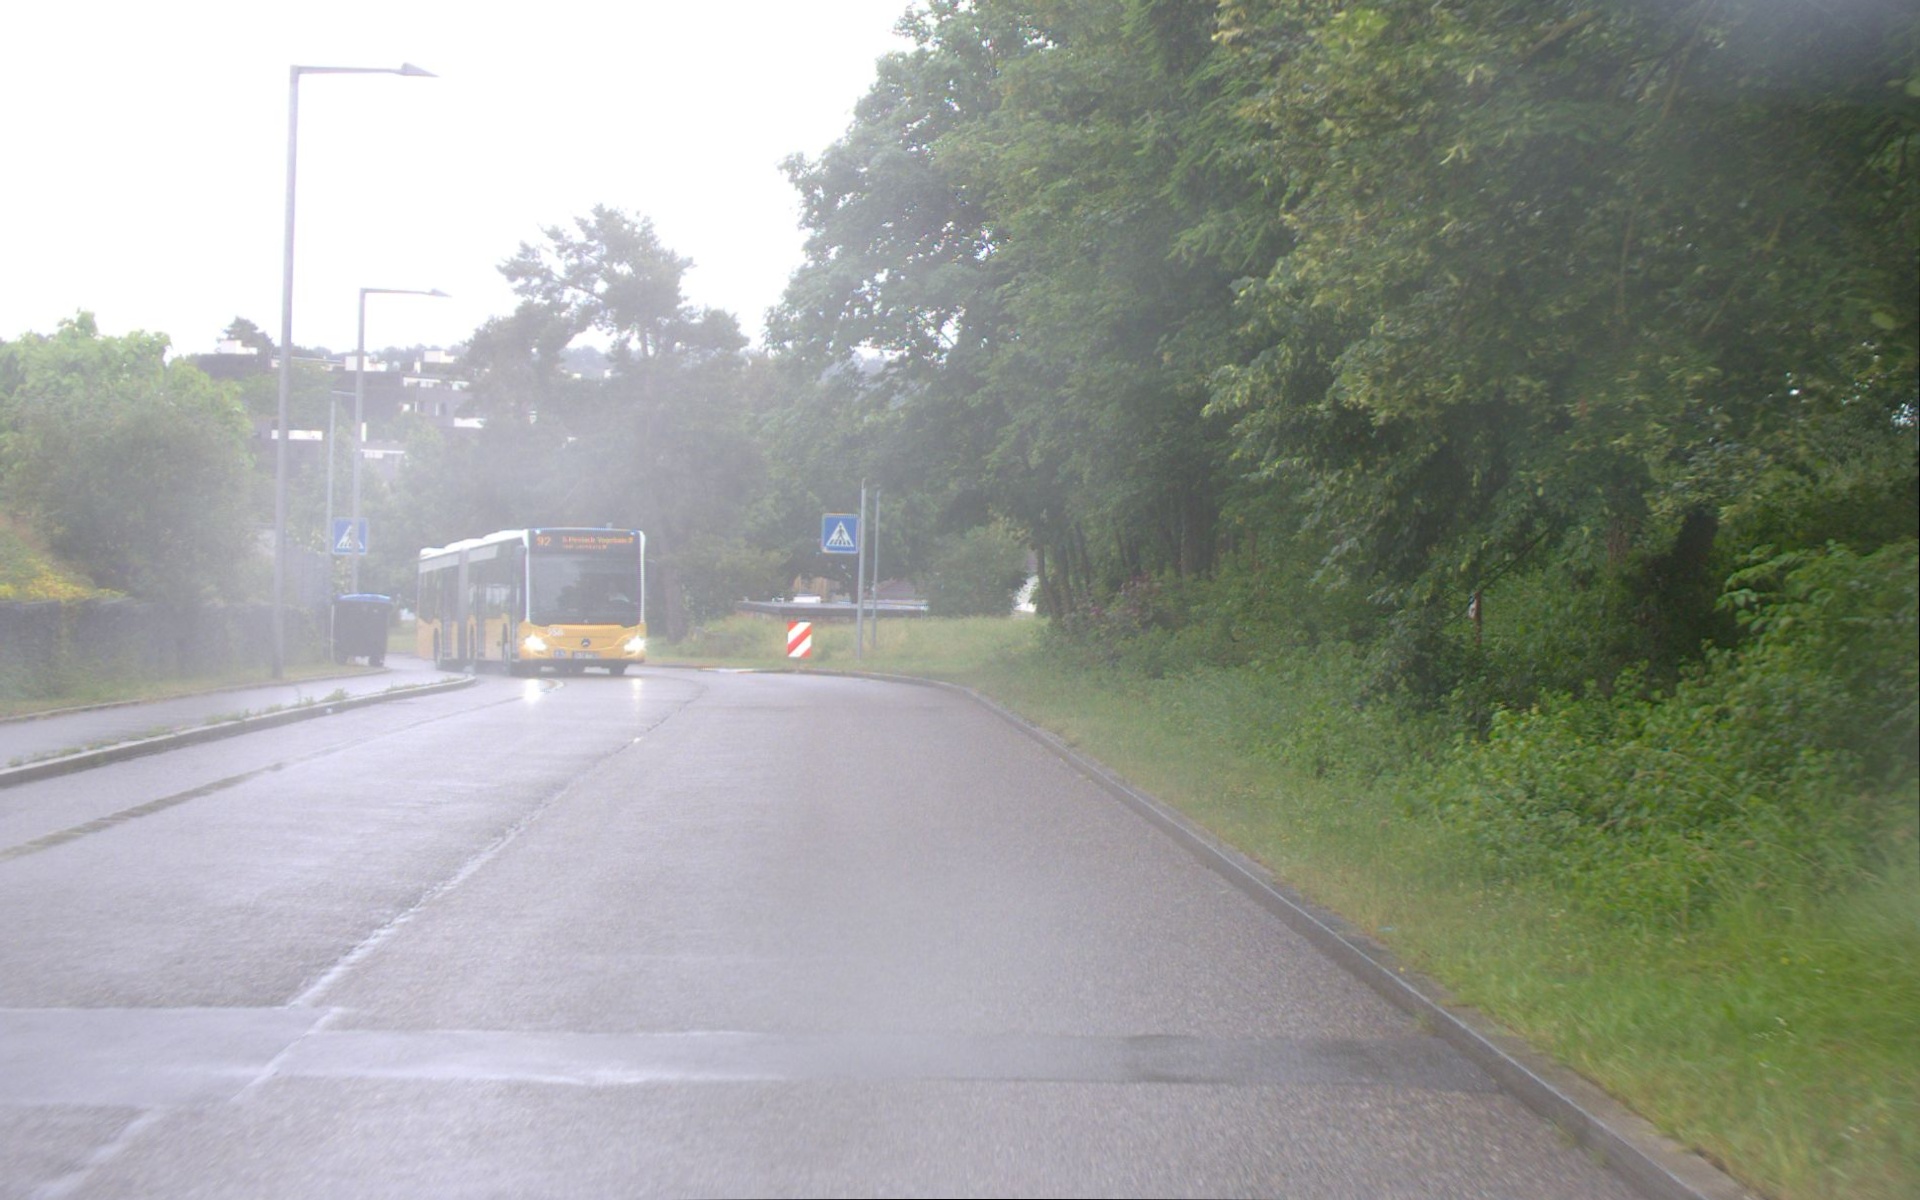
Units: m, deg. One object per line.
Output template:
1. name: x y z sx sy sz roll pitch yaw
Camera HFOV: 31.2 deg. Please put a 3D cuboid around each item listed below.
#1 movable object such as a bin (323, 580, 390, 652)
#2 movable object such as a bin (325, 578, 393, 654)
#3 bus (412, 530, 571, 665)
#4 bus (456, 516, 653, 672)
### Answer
1. movable object such as a bin: -11.611 0.308 66.127 1.131 1.297 1.399 4 -1 -12
2. movable object such as a bin: -11.293 0.304 64.593 1.131 1.335 1.399 4 -1 -12
3. bus: -11.266 -0.035 82.104 2.639 3.022 7.668 1 -1 -16
4. bus: -8.776 -0.077 73.185 2.639 3.057 10.858 0 0 -15
